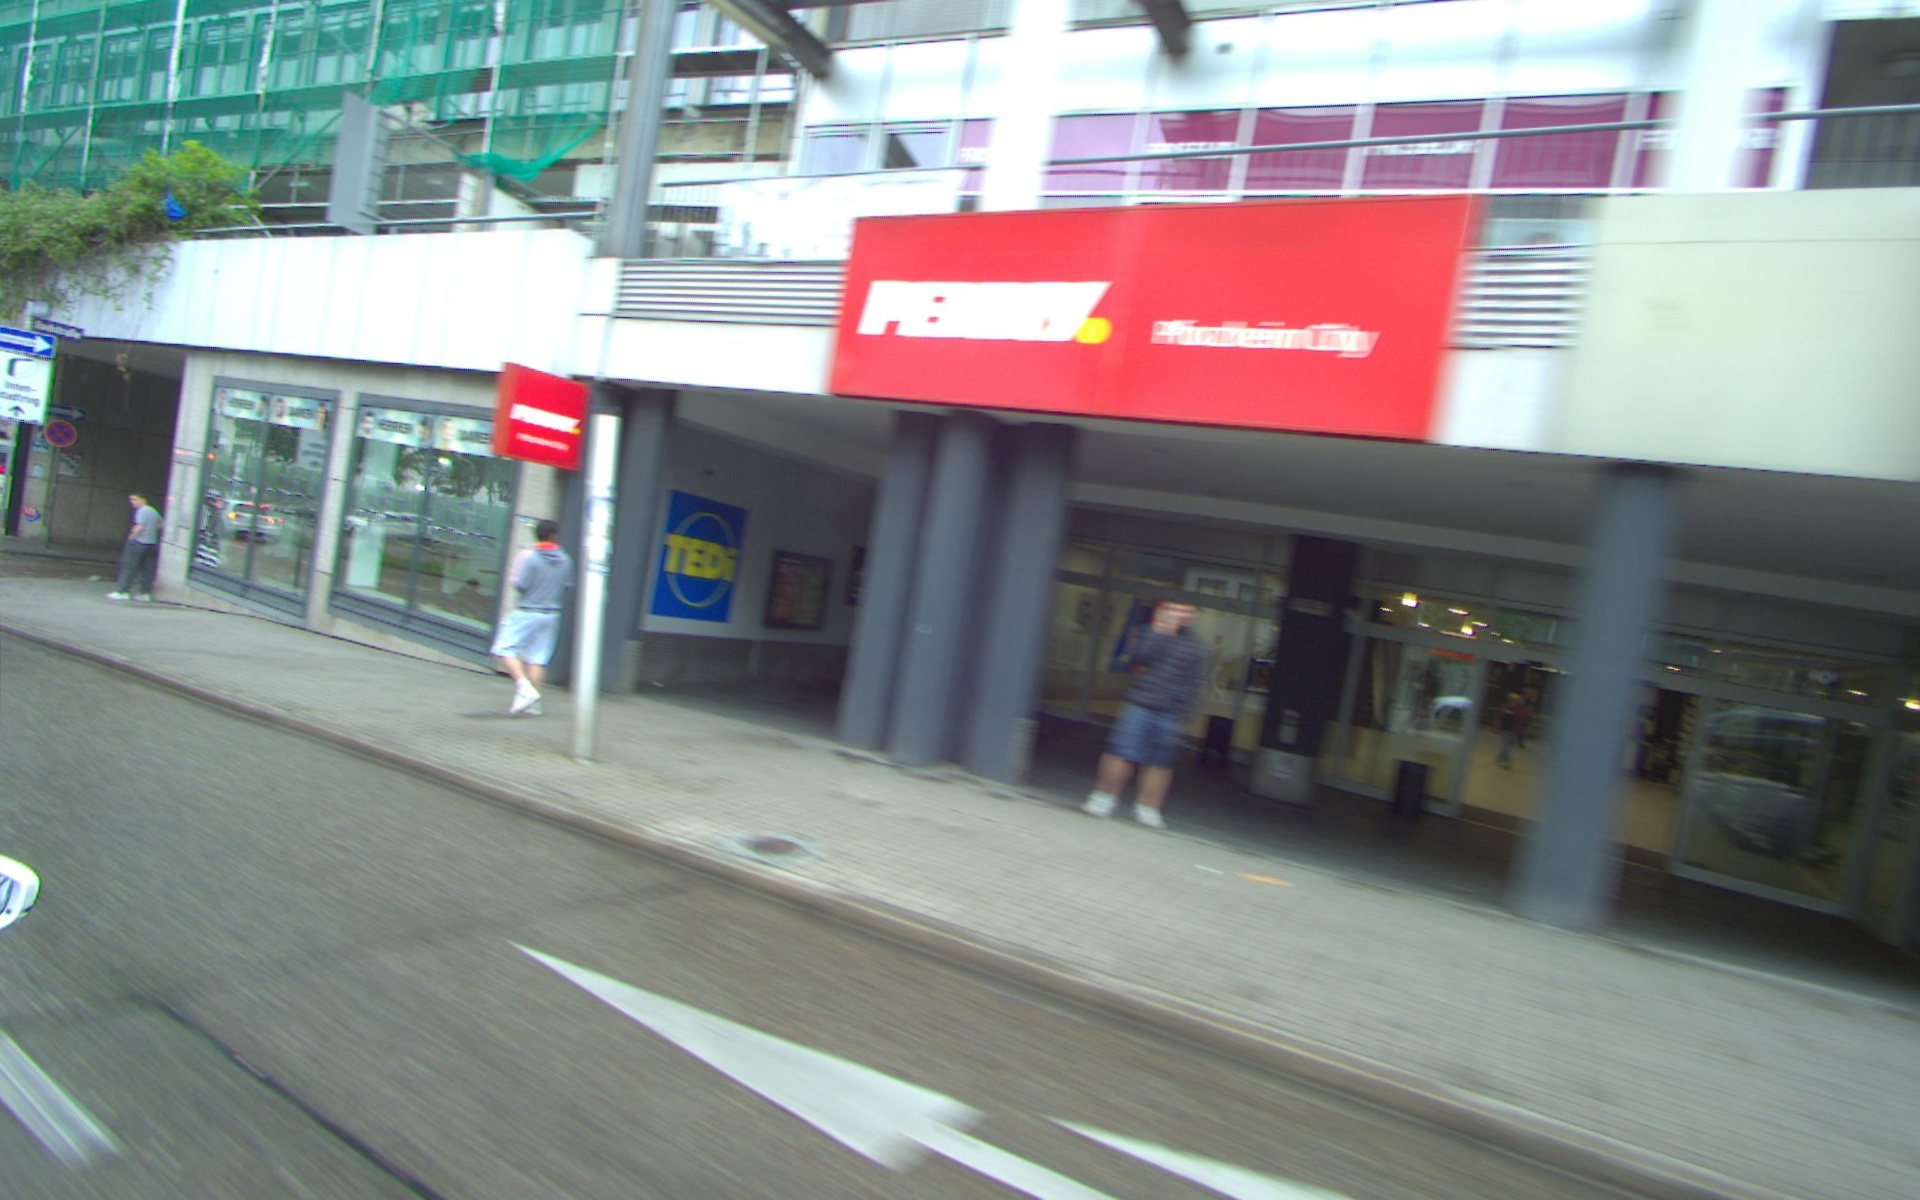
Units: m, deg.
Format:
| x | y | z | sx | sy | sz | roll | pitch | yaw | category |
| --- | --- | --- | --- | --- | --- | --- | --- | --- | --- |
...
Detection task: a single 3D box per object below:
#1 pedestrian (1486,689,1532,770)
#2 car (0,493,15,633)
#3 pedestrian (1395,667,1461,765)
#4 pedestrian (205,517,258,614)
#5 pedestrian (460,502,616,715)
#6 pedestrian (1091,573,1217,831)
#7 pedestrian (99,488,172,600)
| x | y | z | sx | sy | sz | roll | pitch | yaw | category |
| --- | --- | --- | --- | --- | --- | --- | --- | --- | --- |
| 12.815 | 3.006 | 23.489 | 0.628 | 1.740 | 0.769 | 11 | 2 | 31 | pedestrian |
| -10.030 | -0.439 | 8.727 | 3.708 | 1.437 | 1.719 | 8 | 0 | 32 | car |
| 10.217 | 2.505 | 21.947 | 0.943 | 1.950 | 0.862 | 9 | 1 | 31 | pedestrian |
| -13.791 | -0.661 | 19.057 | 0.508 | 1.757 | 0.635 | 8 | 2 | -22 | pedestrian |
| -3.757 | 0.080 | 8.964 | 0.816 | 1.745 | 0.835 | 9 | 3 | 37 | pedestrian |
| 1.456 | 0.720 | 7.495 | 0.658 | 1.737 | 0.818 | 8 | 2 | 13 | pedestrian |
| -12.964 | -0.868 | 15.831 | 0.634 | 1.671 | 0.559 | 5 | 2 | -19 | pedestrian |
